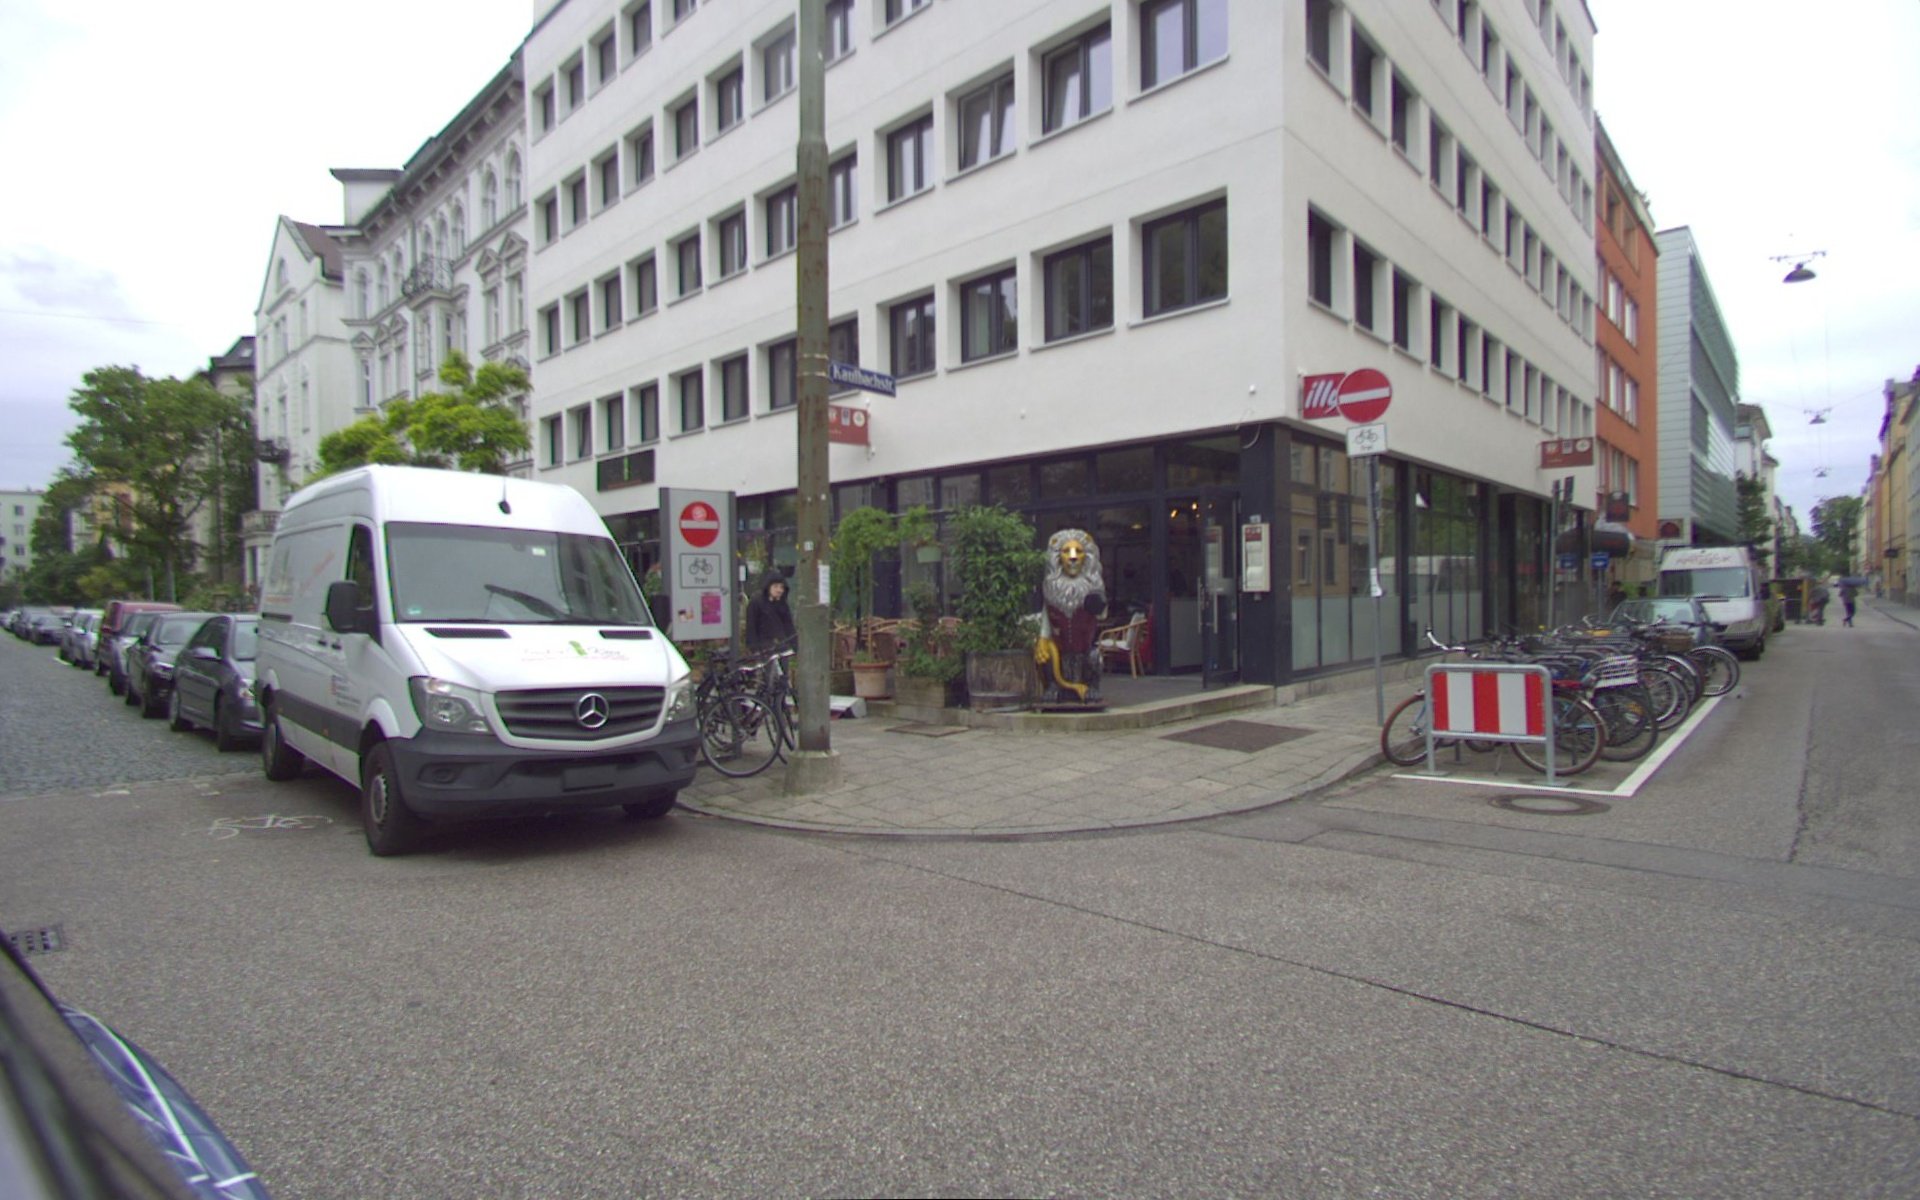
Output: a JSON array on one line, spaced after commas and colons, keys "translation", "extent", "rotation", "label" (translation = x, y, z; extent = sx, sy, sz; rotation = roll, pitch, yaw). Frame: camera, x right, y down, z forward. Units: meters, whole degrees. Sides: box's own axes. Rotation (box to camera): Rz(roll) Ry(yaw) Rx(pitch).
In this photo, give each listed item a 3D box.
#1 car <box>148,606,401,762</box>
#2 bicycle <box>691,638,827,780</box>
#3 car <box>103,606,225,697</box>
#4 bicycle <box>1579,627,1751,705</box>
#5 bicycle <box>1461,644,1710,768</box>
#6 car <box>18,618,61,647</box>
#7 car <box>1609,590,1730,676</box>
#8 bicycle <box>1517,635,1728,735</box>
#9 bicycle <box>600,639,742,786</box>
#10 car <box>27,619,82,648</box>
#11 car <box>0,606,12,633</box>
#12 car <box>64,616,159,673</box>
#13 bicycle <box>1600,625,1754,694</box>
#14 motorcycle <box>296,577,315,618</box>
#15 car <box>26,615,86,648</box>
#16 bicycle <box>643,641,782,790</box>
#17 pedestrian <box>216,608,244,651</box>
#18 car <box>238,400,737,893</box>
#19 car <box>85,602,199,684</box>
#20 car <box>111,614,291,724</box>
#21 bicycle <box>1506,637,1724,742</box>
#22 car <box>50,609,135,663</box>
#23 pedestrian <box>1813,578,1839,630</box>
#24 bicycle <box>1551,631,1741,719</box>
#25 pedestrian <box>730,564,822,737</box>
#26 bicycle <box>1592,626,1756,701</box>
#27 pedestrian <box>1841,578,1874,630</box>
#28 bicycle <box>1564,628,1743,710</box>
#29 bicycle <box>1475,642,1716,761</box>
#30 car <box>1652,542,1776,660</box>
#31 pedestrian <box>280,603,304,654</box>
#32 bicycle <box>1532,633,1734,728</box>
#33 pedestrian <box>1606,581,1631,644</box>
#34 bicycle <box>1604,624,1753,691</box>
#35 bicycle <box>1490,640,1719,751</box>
[{"translation": [-8.194, 0.847, 11.955], "extent": [3.983, 1.493, 1.643], "rotation": [0, 1, 44], "label": "car"}, {"translation": [-1.841, 0.930, 9.086], "extent": [1.731, 1.135, 0.252], "rotation": [0, 1, 45], "label": "bicycle"}, {"translation": [-15.376, 0.900, 19.482], "extent": [1.672, 1.515, 3.783], "rotation": [-2, 1, -41], "label": "car"}, {"translation": [9.582, 0.867, 13.805], "extent": [1.893, 0.975, 0.393], "rotation": [-1, 1, 40], "label": "bicycle"}, {"translation": [5.636, 0.918, 9.211], "extent": [1.893, 0.975, 0.393], "rotation": [-1, 1, 40], "label": "bicycle"}, {"translation": [-51.617, 1.787, 56.729], "extent": [1.689, 1.435, 4.003], "rotation": [-2, 1, -44], "label": "car"}, {"translation": [12.988, 0.538, 18.446], "extent": [1.489, 1.418, 3.642], "rotation": [-1, 0, 40], "label": "car"}, {"translation": [7.195, 0.894, 11.062], "extent": [1.893, 0.975, 0.393], "rotation": [-1, 1, 40], "label": "bicycle"}, {"translation": [-2.478, 0.894, 8.548], "extent": [1.816, 1.099, 0.282], "rotation": [-1, 0, 44], "label": "bicycle"}, {"translation": [-46.341, 1.692, 51.769], "extent": [1.970, 1.342, 4.003], "rotation": [-1, 0, -44], "label": "car"}, {"translation": [-74.549, 1.483, 78.299], "extent": [1.738, 2.029, 4.003], "rotation": [-2, 1, -44], "label": "car"}, {"translation": [-23.536, 1.174, 28.022], "extent": [3.817, 1.404, 1.613], "rotation": [0, 1, 44], "label": "car"}, {"translation": [10.930, 0.883, 15.479], "extent": [1.893, 0.975, 0.393], "rotation": [-1, 1, 40], "label": "bicycle"}, {"translation": [-19.373, -0.081, 29.977], "extent": [0.326, 1.188, 1.630], "rotation": [-1, 1, -29], "label": "motorcycle"}, {"translation": [-42.883, 1.472, 47.995], "extent": [1.860, 1.430, 4.811], "rotation": [-1, 0, -45], "label": "car"}, {"translation": [-2.186, 0.949, 8.792], "extent": [1.808, 1.135, 0.252], "rotation": [0, 1, 45], "label": "bicycle"}, {"translation": [-28.525, 1.131, 39.552], "extent": [0.656, 1.640, 0.670], "rotation": [-1, 0, -13], "label": "pedestrian"}, {"translation": [-4.155, 0.271, 8.139], "extent": [1.953, 2.593, 5.800], "rotation": [1, -1, -43], "label": "car"}, {"translation": [-19.094, 0.930, 23.563], "extent": [1.698, 1.736, 3.901], "rotation": [1, -1, -44], "label": "car"}, {"translation": [-11.939, 0.967, 15.802], "extent": [1.705, 1.476, 4.477], "rotation": [2, -2, -44], "label": "car"}, {"translation": [6.855, 0.907, 10.672], "extent": [1.893, 0.975, 0.393], "rotation": [-1, 1, 40], "label": "bicycle"}, {"translation": [-27.817, 1.095, 32.409], "extent": [4.069, 1.584, 1.670], "rotation": [0, 1, 44], "label": "car"}, {"translation": [34.744, 0.150, 40.609], "extent": [0.718, 2.029, 0.876], "rotation": [-1, 1, 36], "label": "pedestrian"}, {"translation": [8.381, 0.888, 12.427], "extent": [1.893, 0.975, 0.393], "rotation": [-1, 1, 40], "label": "bicycle"}, {"translation": [-2.054, 0.536, 11.304], "extent": [0.813, 1.854, 0.607], "rotation": [-1, 0, 39], "label": "pedestrian"}, {"translation": [10.173, 0.878, 14.473], "extent": [1.893, 0.975, 0.393], "rotation": [-1, 1, 40], "label": "bicycle"}, {"translation": [35.515, 0.159, 40.067], "extent": [0.871, 2.029, 0.876], "rotation": [-1, 1, 36], "label": "pedestrian"}, {"translation": [8.987, 0.866, 13.177], "extent": [1.893, 0.975, 0.393], "rotation": [-1, 1, 40], "label": "bicycle"}, {"translation": [5.945, 0.911, 9.553], "extent": [1.893, 0.975, 0.393], "rotation": [-1, 1, 40], "label": "bicycle"}, {"translation": [17.808, -0.044, 23.750], "extent": [1.963, 2.406, 6.398], "rotation": [-1, 1, 40], "label": "car"}, {"translation": [-21.931, 0.921, 33.219], "extent": [0.568, 1.659, 0.823], "rotation": [1, -2, -38], "label": "pedestrian"}, {"translation": [7.685, 0.886, 11.623], "extent": [1.893, 0.975, 0.393], "rotation": [-1, 1, 40], "label": "bicycle"}, {"translation": [18.534, 0.343, 28.479], "extent": [0.522, 1.752, 0.486], "rotation": [-1, 0, 41], "label": "pedestrian"}, {"translation": [11.333, 0.880, 16.006], "extent": [1.893, 0.975, 0.393], "rotation": [-1, 1, 40], "label": "bicycle"}, {"translation": [6.396, 0.916, 10.122], "extent": [1.893, 0.975, 0.393], "rotation": [-1, 1, 40], "label": "bicycle"}]
